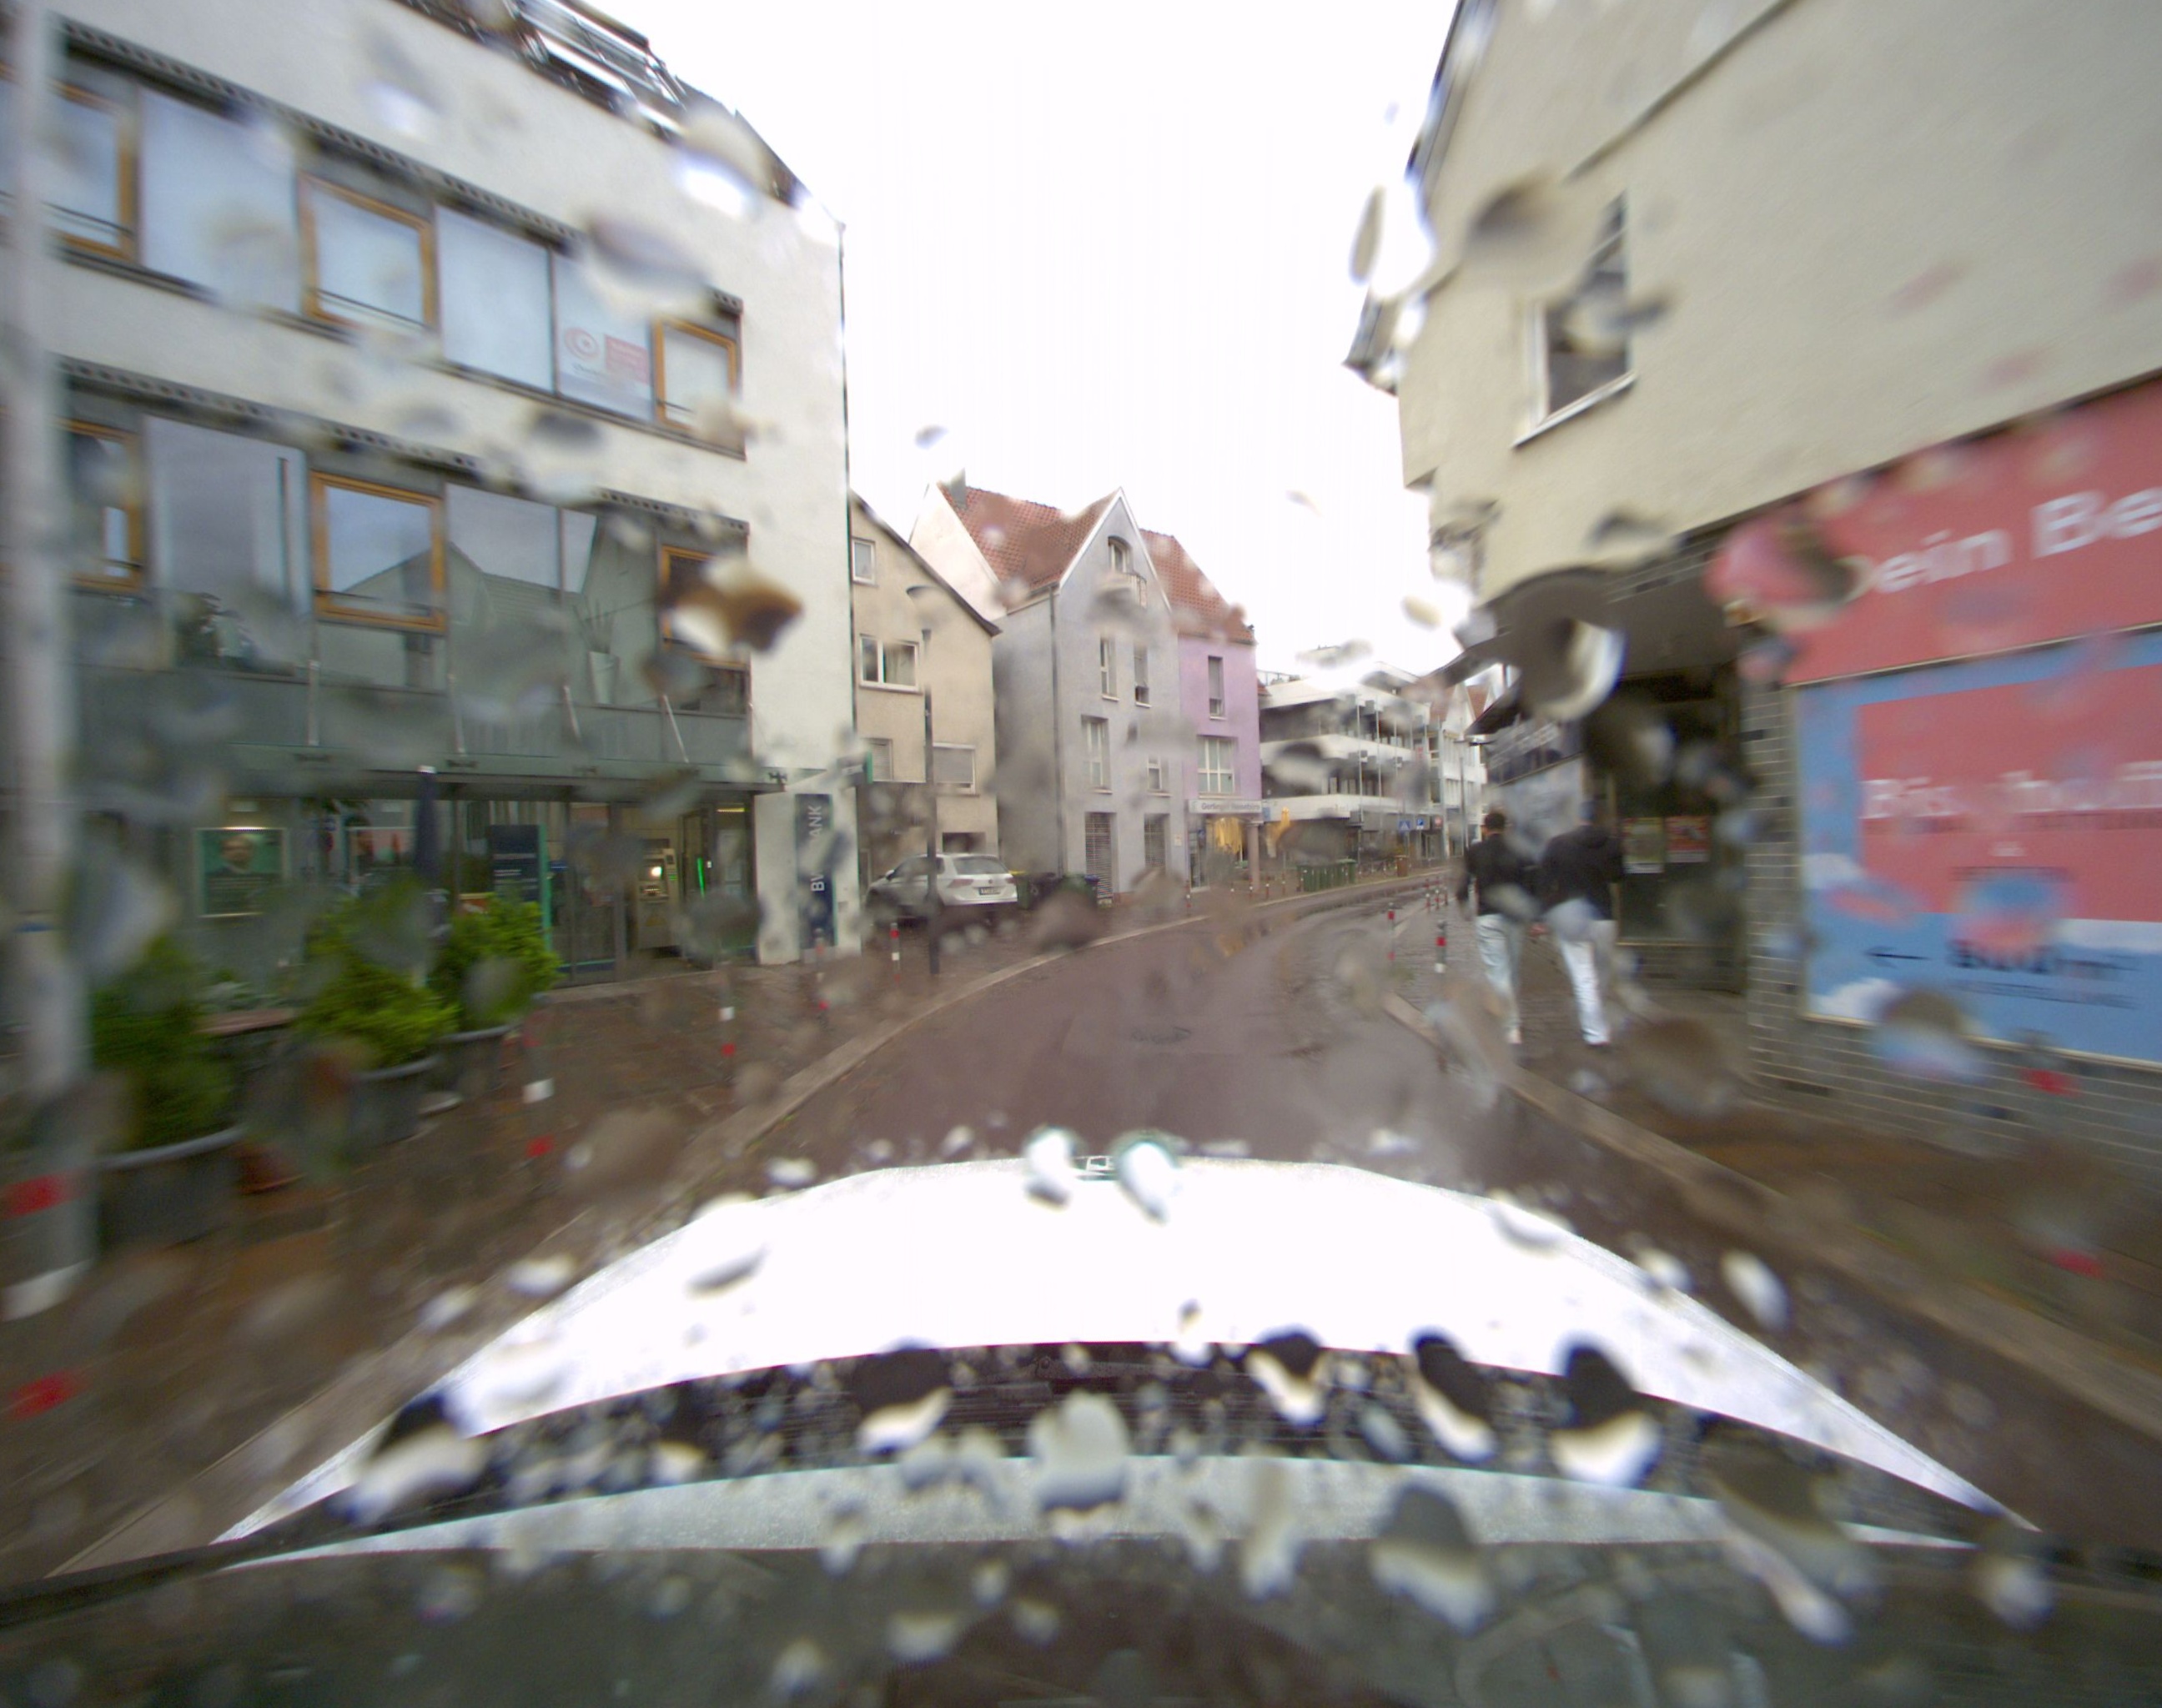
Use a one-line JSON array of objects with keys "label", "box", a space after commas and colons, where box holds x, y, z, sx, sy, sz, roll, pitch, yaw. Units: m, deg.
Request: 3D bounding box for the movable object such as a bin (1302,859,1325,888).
[{"label": "movable object such as a bin", "box": [9.041, 0.759, 31.654, 0.626, 1.128, 0.580, -3, -2, 38]}]

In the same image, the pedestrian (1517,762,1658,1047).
[{"label": "pedestrian", "box": [3.820, 0.370, 6.214, 0.645, 2.014, 0.765, -3, -1, 17]}]

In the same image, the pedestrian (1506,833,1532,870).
[{"label": "pedestrian", "box": [24.575, -0.159, 45.685, 1.130, 2.013, 0.833, -1, 1, 37]}]

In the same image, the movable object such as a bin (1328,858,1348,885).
[{"label": "movable object such as a bin", "box": [10.943, 0.735, 34.681, 0.626, 1.128, 0.580, -3, -2, 38]}]

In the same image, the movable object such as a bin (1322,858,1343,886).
[{"label": "movable object such as a bin", "box": [10.493, 0.731, 33.956, 0.626, 1.128, 0.580, -3, -2, 38]}]

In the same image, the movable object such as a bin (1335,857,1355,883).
[{"label": "movable object such as a bin", "box": [11.650, 0.718, 35.900, 0.626, 1.128, 0.580, -3, -2, 38]}]

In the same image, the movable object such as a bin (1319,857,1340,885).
[{"label": "movable object such as a bin", "box": [10.148, 0.685, 33.282, 0.626, 1.128, 0.580, -3, -2, 38]}]

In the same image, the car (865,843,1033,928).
[{"label": "car", "box": [-3.092, 0.666, 18.535, 2.010, 1.676, 3.953, -1, 0, -40]}]

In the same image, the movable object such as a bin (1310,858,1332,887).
[{"label": "movable object such as a bin", "box": [9.524, 0.749, 32.364, 0.626, 1.128, 0.580, -3, -2, 38]}]

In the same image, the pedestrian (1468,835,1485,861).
[{"label": "pedestrian", "box": [30.737, -0.453, 63.296, 0.828, 2.014, 1.014, -4, -2, 41]}]

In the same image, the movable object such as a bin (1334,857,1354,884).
[{"label": "movable object such as a bin", "box": [11.375, 0.719, 35.242, 0.626, 1.128, 0.580, -3, -2, 38]}]

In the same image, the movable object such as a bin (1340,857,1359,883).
[{"label": "movable object such as a bin", "box": [12.014, 0.697, 36.418, 0.626, 1.128, 0.580, -3, -2, 38]}]

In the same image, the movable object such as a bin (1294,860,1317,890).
[{"label": "movable object such as a bin", "box": [8.561, 0.800, 31.028, 0.626, 1.128, 0.580, -3, -2, 38]}]

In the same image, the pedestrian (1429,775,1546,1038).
[{"label": "pedestrian", "box": [3.300, 0.414, 6.686, 0.645, 2.014, 0.764, -3, -1, 17]}]

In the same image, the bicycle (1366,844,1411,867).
[{"label": "bicycle", "box": [18.887, 0.098, 50.063, 2.280, 1.314, 1.016, -4, -2, 43]}]

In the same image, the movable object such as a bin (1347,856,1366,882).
[{"label": "movable object such as a bin", "box": [12.458, 0.665, 36.842, 0.626, 1.128, 0.580, -3, -2, 38]}]
